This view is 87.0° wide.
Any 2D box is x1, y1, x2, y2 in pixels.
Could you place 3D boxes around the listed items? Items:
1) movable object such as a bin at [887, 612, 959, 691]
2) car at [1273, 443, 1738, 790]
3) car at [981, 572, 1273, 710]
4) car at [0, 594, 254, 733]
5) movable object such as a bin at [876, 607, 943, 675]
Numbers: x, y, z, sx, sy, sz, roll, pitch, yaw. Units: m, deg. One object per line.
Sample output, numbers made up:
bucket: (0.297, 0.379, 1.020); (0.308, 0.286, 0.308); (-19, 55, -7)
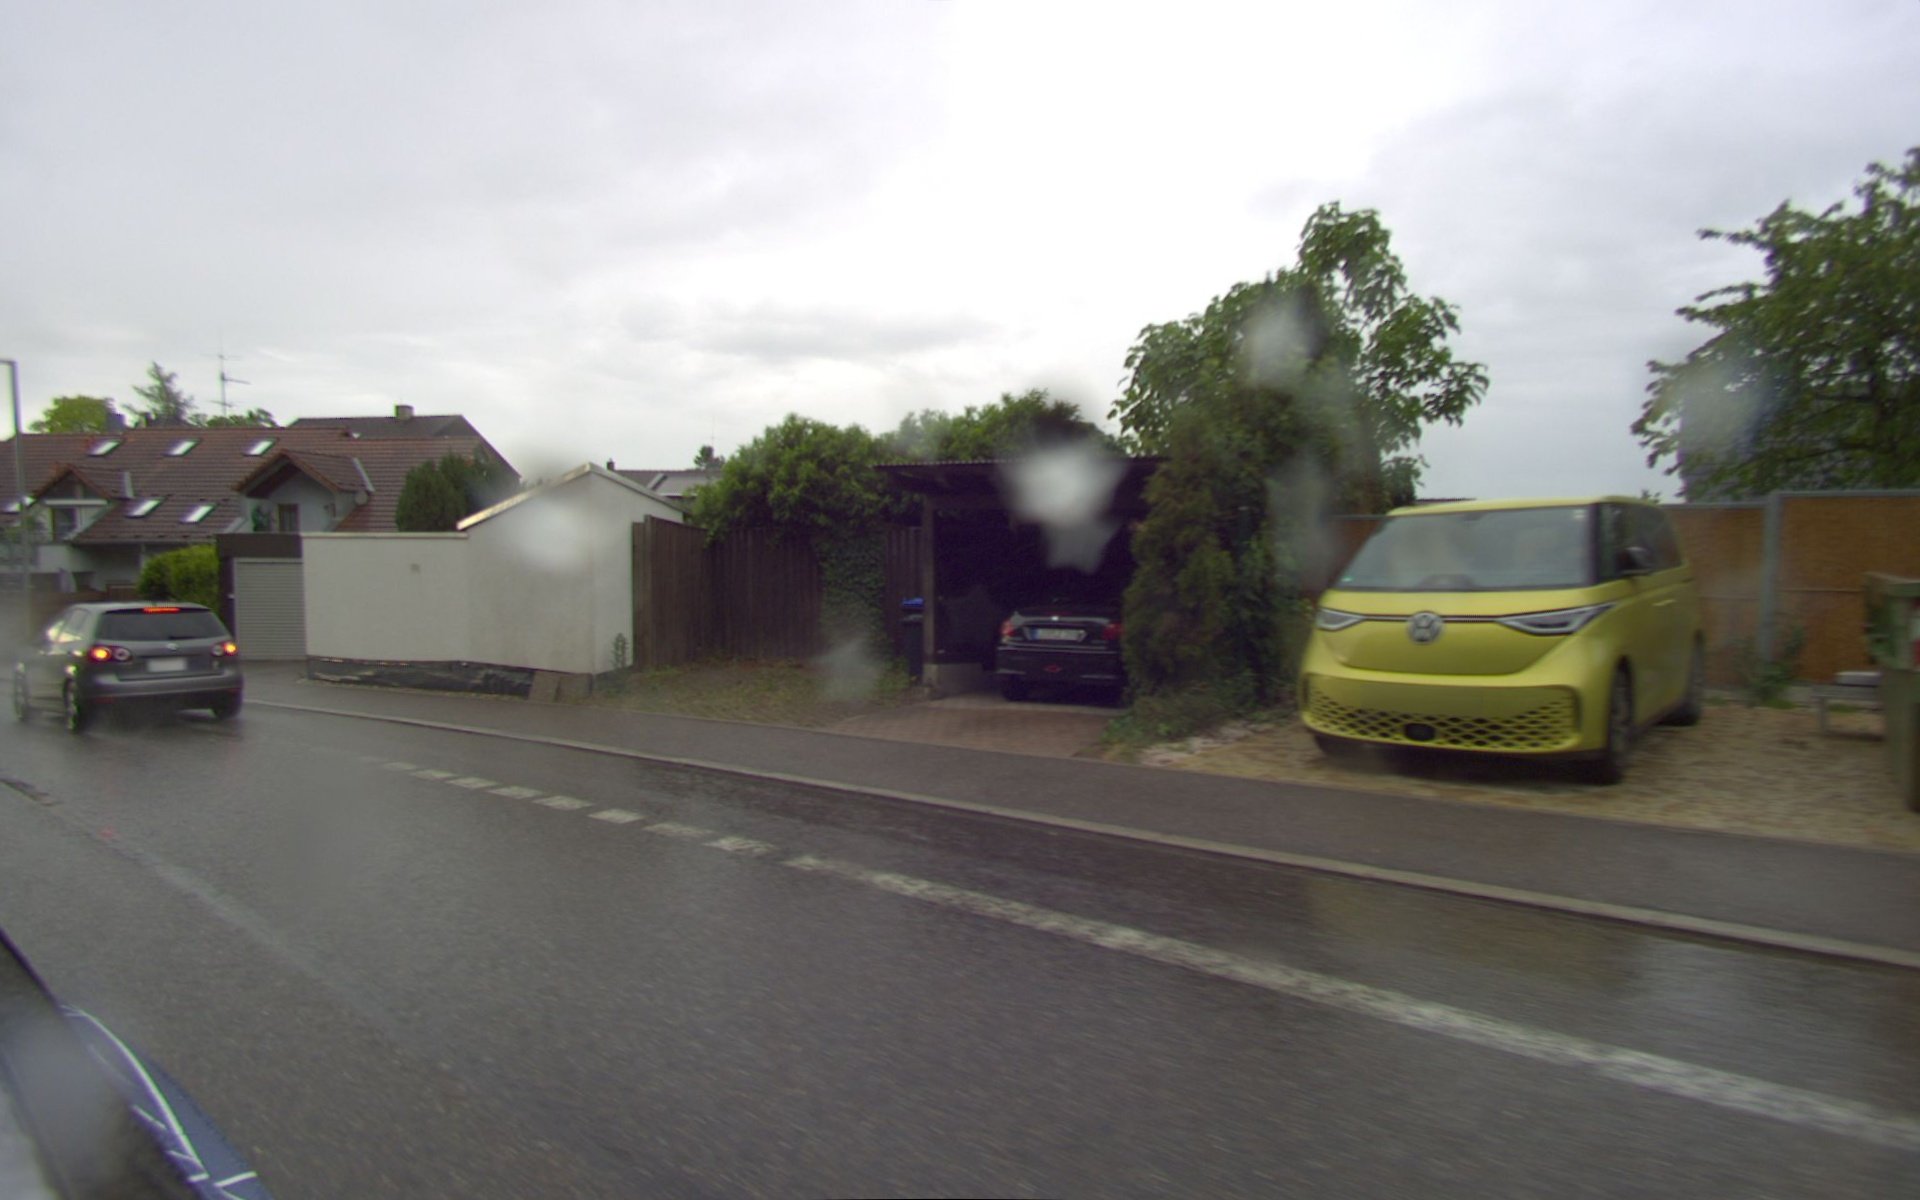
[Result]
movable object such as a bin: (-0.446, 0.611, 12.293); (0.616, 0.911, 0.681); (-1, 0, 27)
car: (4.427, 0.040, 7.821); (2.089, 1.873, 4.454); (-1, 1, 43)
car: (2.098, 0.388, 11.778); (1.787, 1.313, 3.960); (-1, 0, 35)
car: (-11.391, 0.745, 13.592); (4.610, 1.523, 1.817); (-1, 1, 38)
movable object such as a bin: (-0.691, 0.556, 13.928); (0.684, 0.911, 0.614); (-1, 0, 28)
